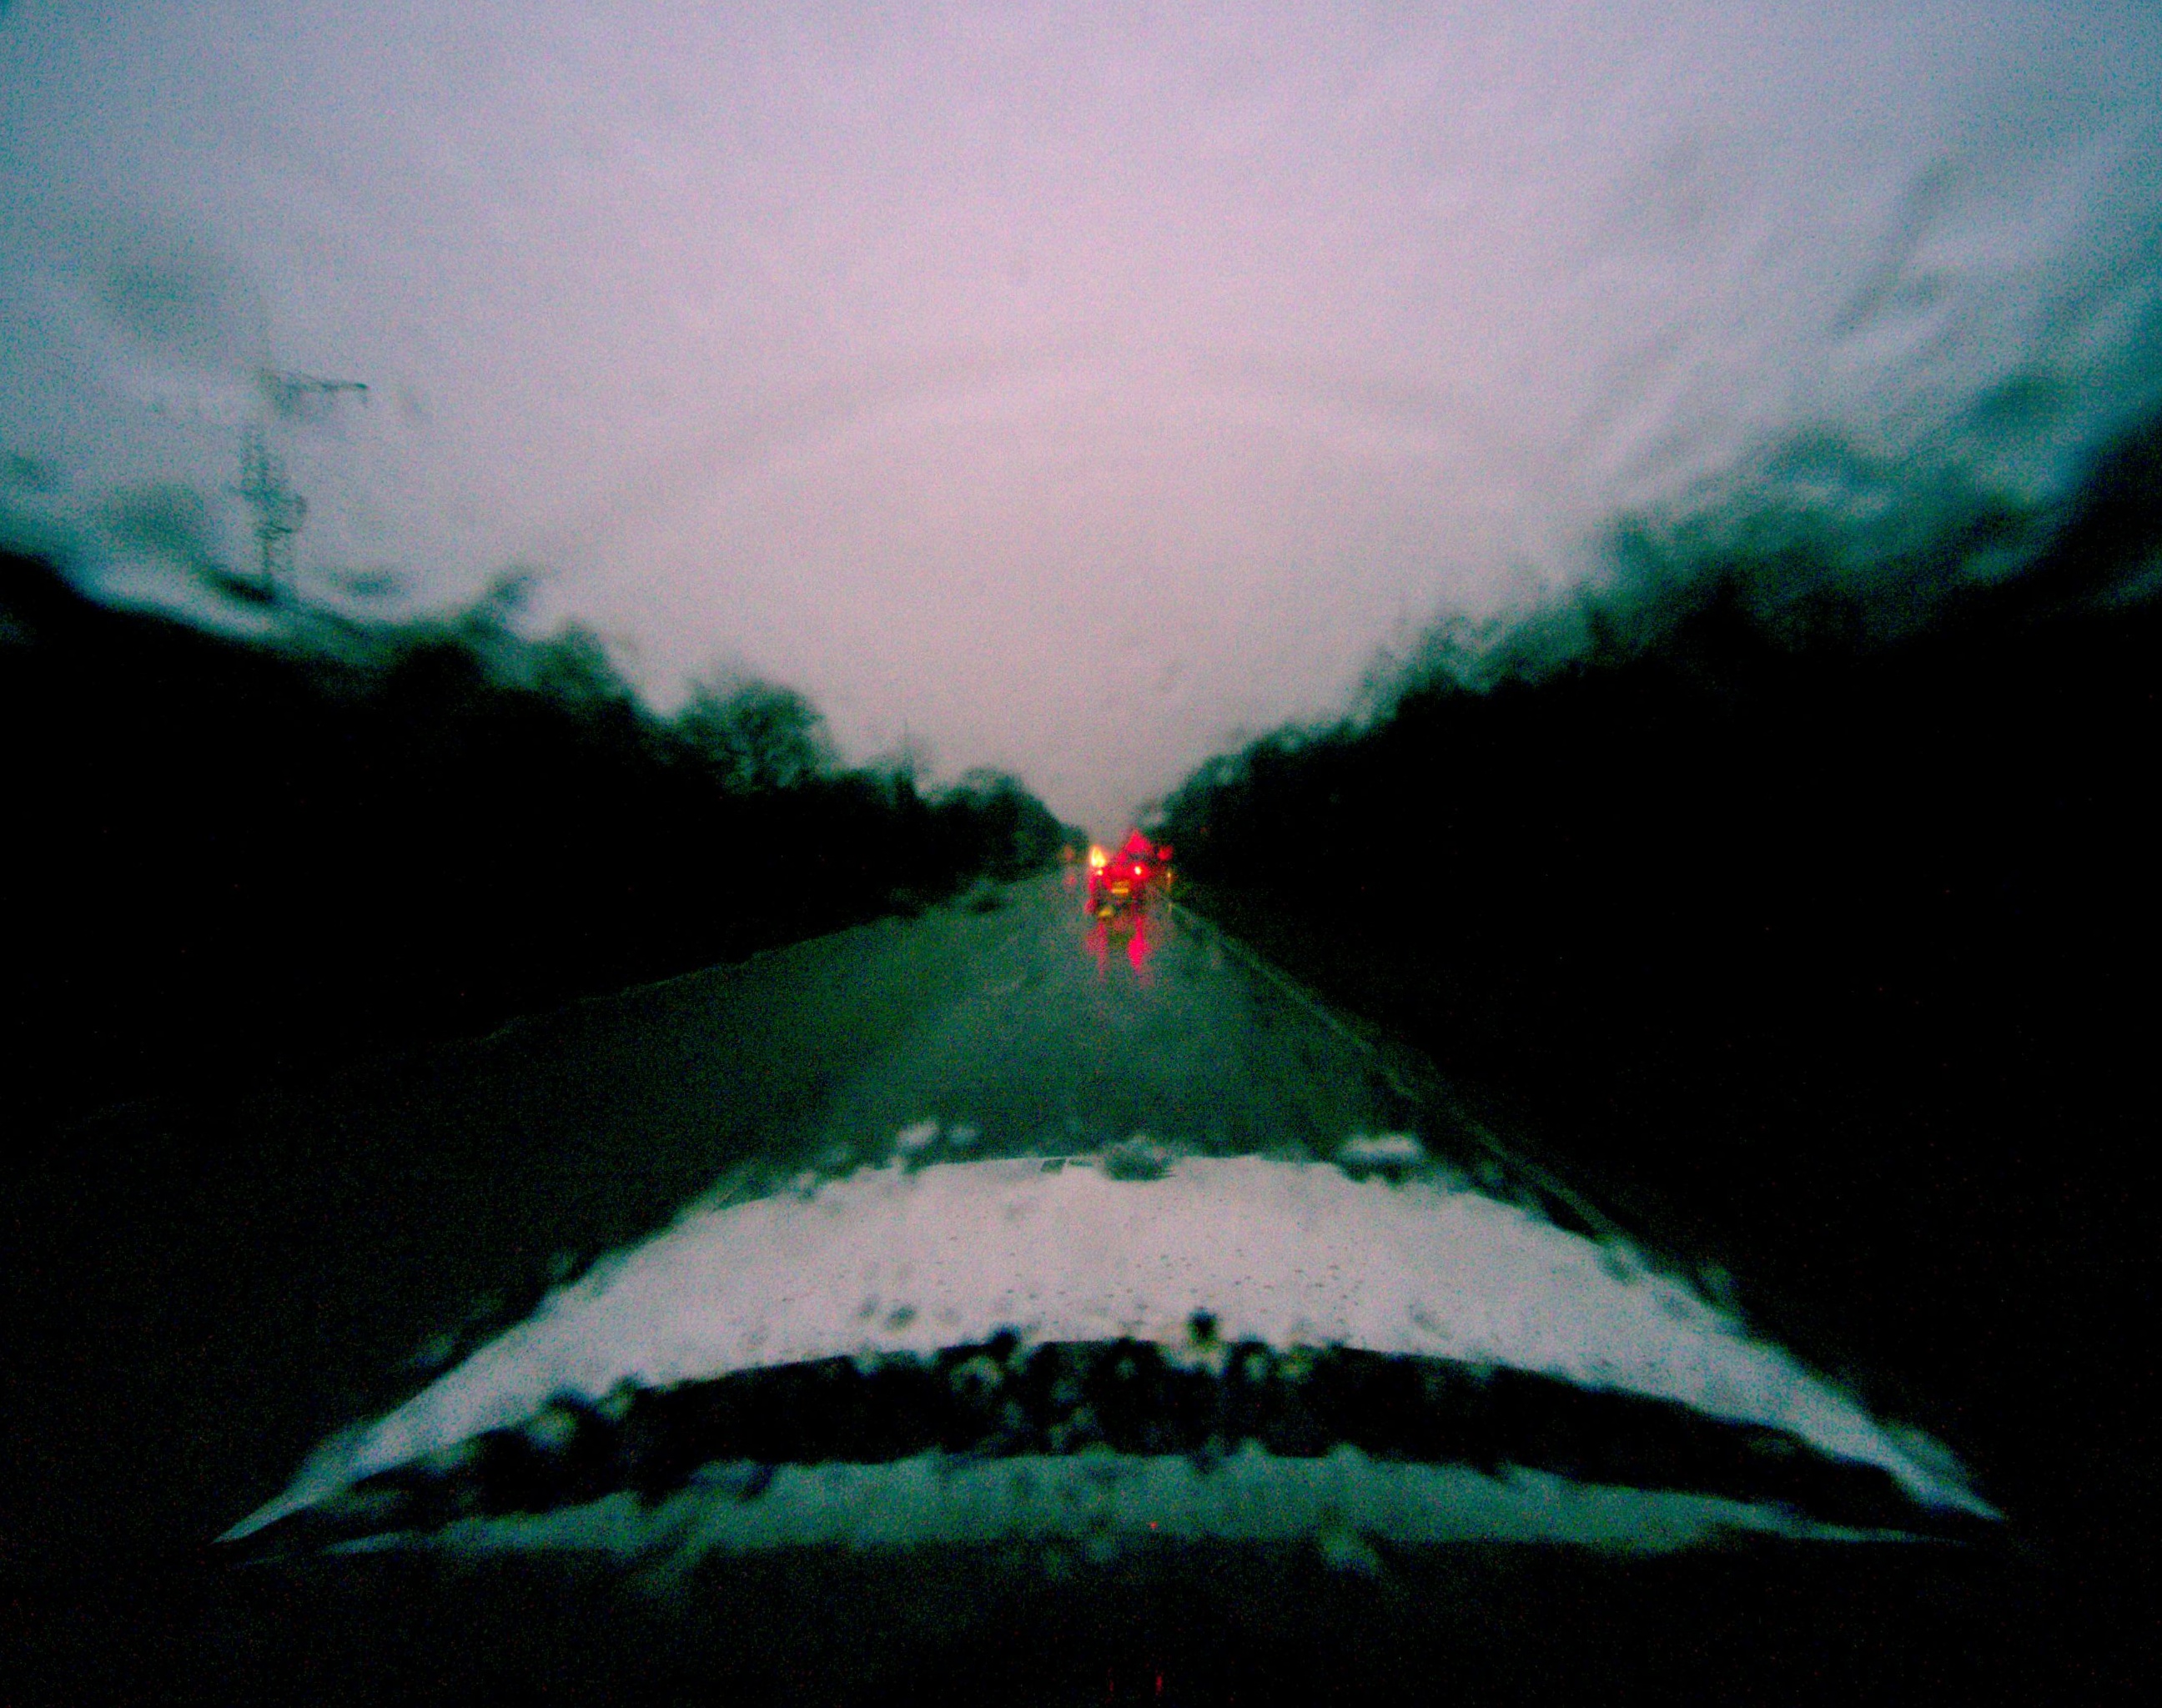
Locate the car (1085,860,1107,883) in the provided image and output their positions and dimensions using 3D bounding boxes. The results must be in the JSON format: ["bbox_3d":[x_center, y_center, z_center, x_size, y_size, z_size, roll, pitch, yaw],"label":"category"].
[{"bbox_3d":[1.286,1.430,66.997,1.726,1.779,4.001,-1,0,1],"label":"car"}]

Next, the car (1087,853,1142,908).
[{"bbox_3d":[1.086,0.819,26.554,1.642,1.672,3.515,-1,0,2],"label":"car"}]
